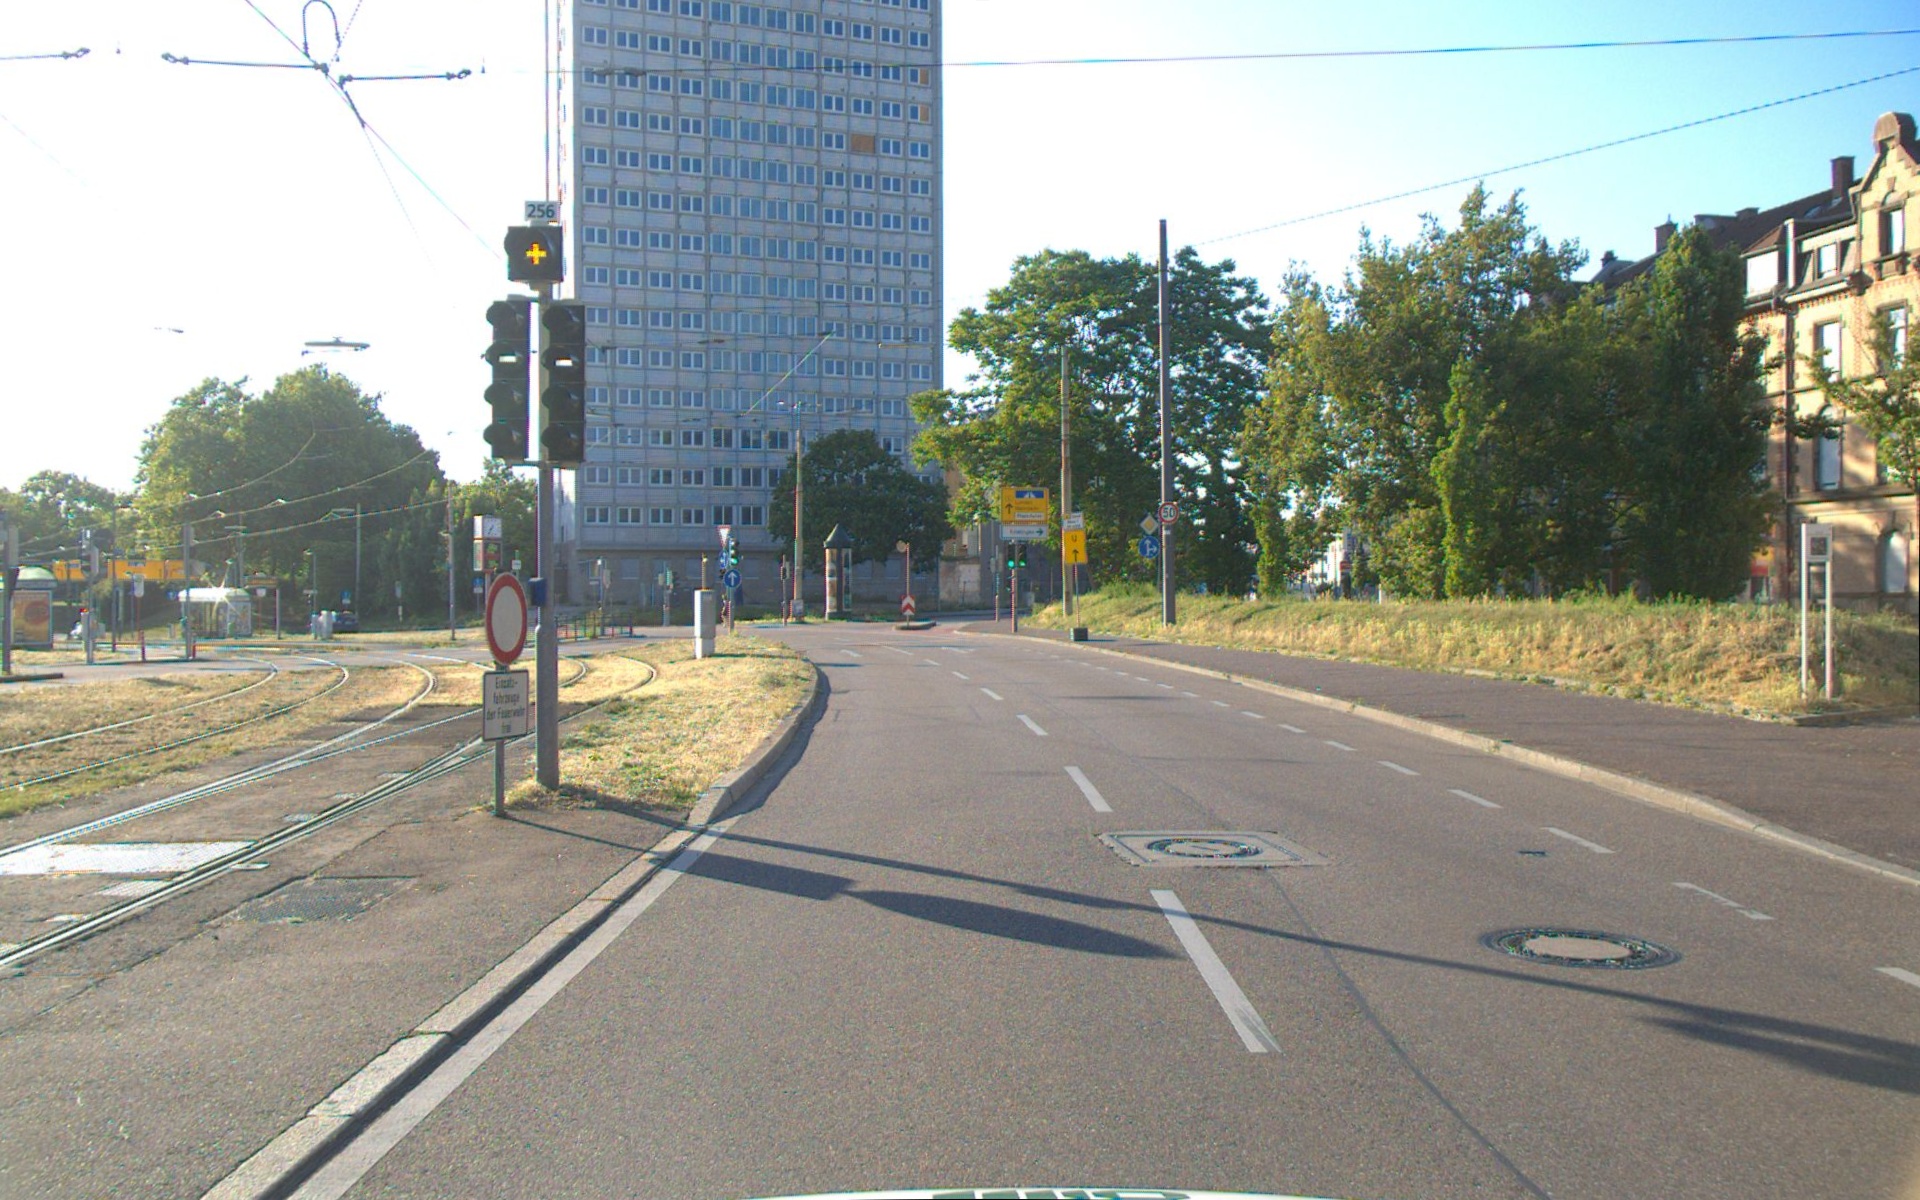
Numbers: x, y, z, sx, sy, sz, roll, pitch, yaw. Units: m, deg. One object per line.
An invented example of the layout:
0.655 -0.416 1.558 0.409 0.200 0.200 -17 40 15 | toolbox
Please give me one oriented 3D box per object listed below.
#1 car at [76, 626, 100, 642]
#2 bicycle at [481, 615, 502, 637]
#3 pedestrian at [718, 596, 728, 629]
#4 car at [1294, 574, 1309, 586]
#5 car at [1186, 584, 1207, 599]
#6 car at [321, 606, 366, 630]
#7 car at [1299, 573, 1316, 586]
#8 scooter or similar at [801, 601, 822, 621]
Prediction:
-84.375 3.266 159.993 1.505 1.412 3.317 0 1 -38 | car
-21.372 1.178 75.481 0.542 0.934 1.741 -3 1 -6 | bicycle
-11.913 0.618 83.012 0.428 1.640 0.628 -1 0 -10 | pedestrian
46.089 -2.729 223.068 1.819 1.570 4.003 -1 0 15 | car
25.255 -0.896 176.411 1.833 1.483 3.790 -1 1 14 | car
-38.343 1.127 102.825 1.756 1.447 3.811 -1 0 -33 | car
43.885 -2.622 208.813 1.819 1.570 3.882 -1 0 15 | car
-9.097 0.684 101.281 1.278 1.190 0.325 -1 0 -20 | scooter or similar
